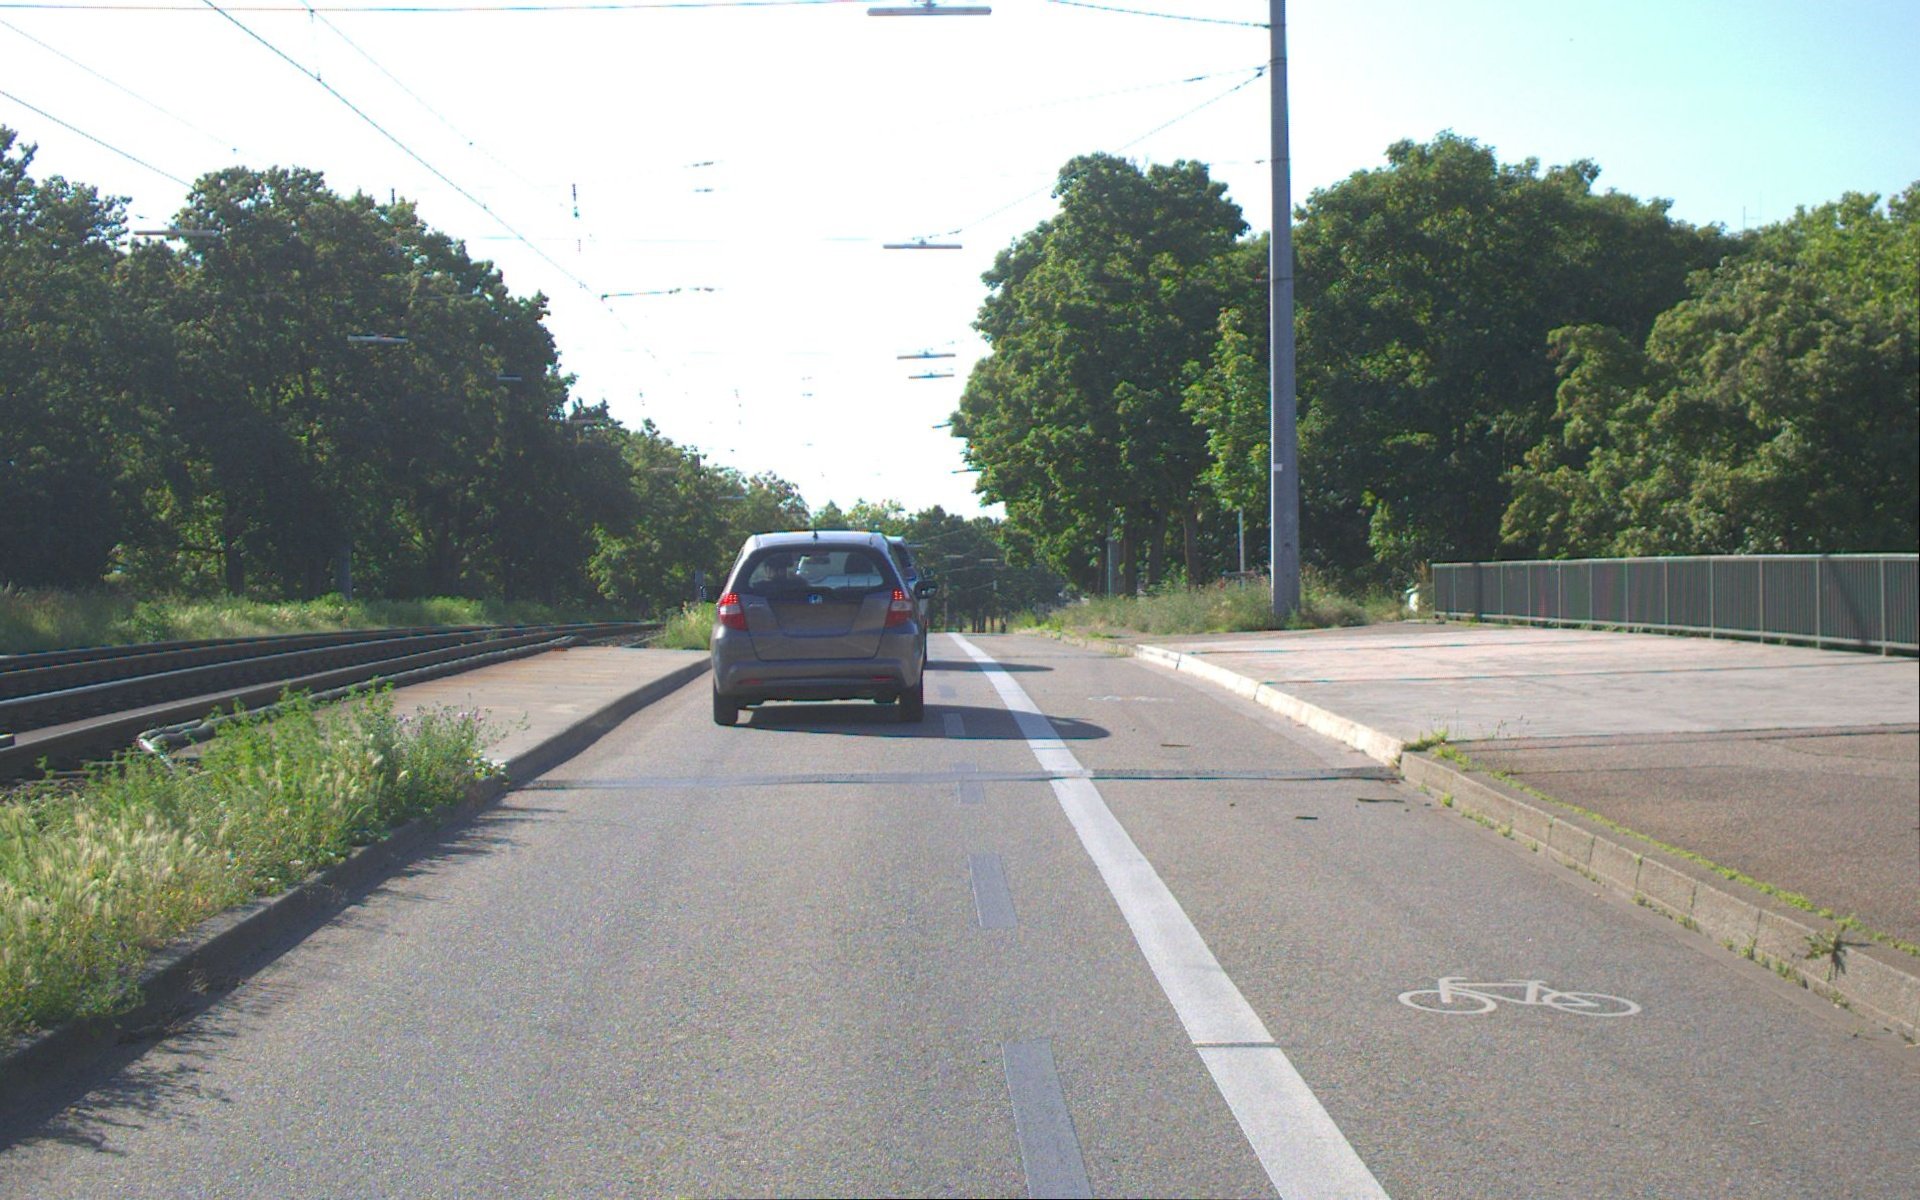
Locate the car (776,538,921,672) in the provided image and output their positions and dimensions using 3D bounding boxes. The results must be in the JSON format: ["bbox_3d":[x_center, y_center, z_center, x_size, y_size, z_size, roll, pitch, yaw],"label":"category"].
[{"bbox_3d":[-1.338,0.022,42.522,1.654,1.502,3.811,1,2,0],"label":"car"}]

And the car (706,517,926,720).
[{"bbox_3d":[-1.136,0.098,28.322,1.670,1.502,3.811,1,2,-1],"label":"car"}]
